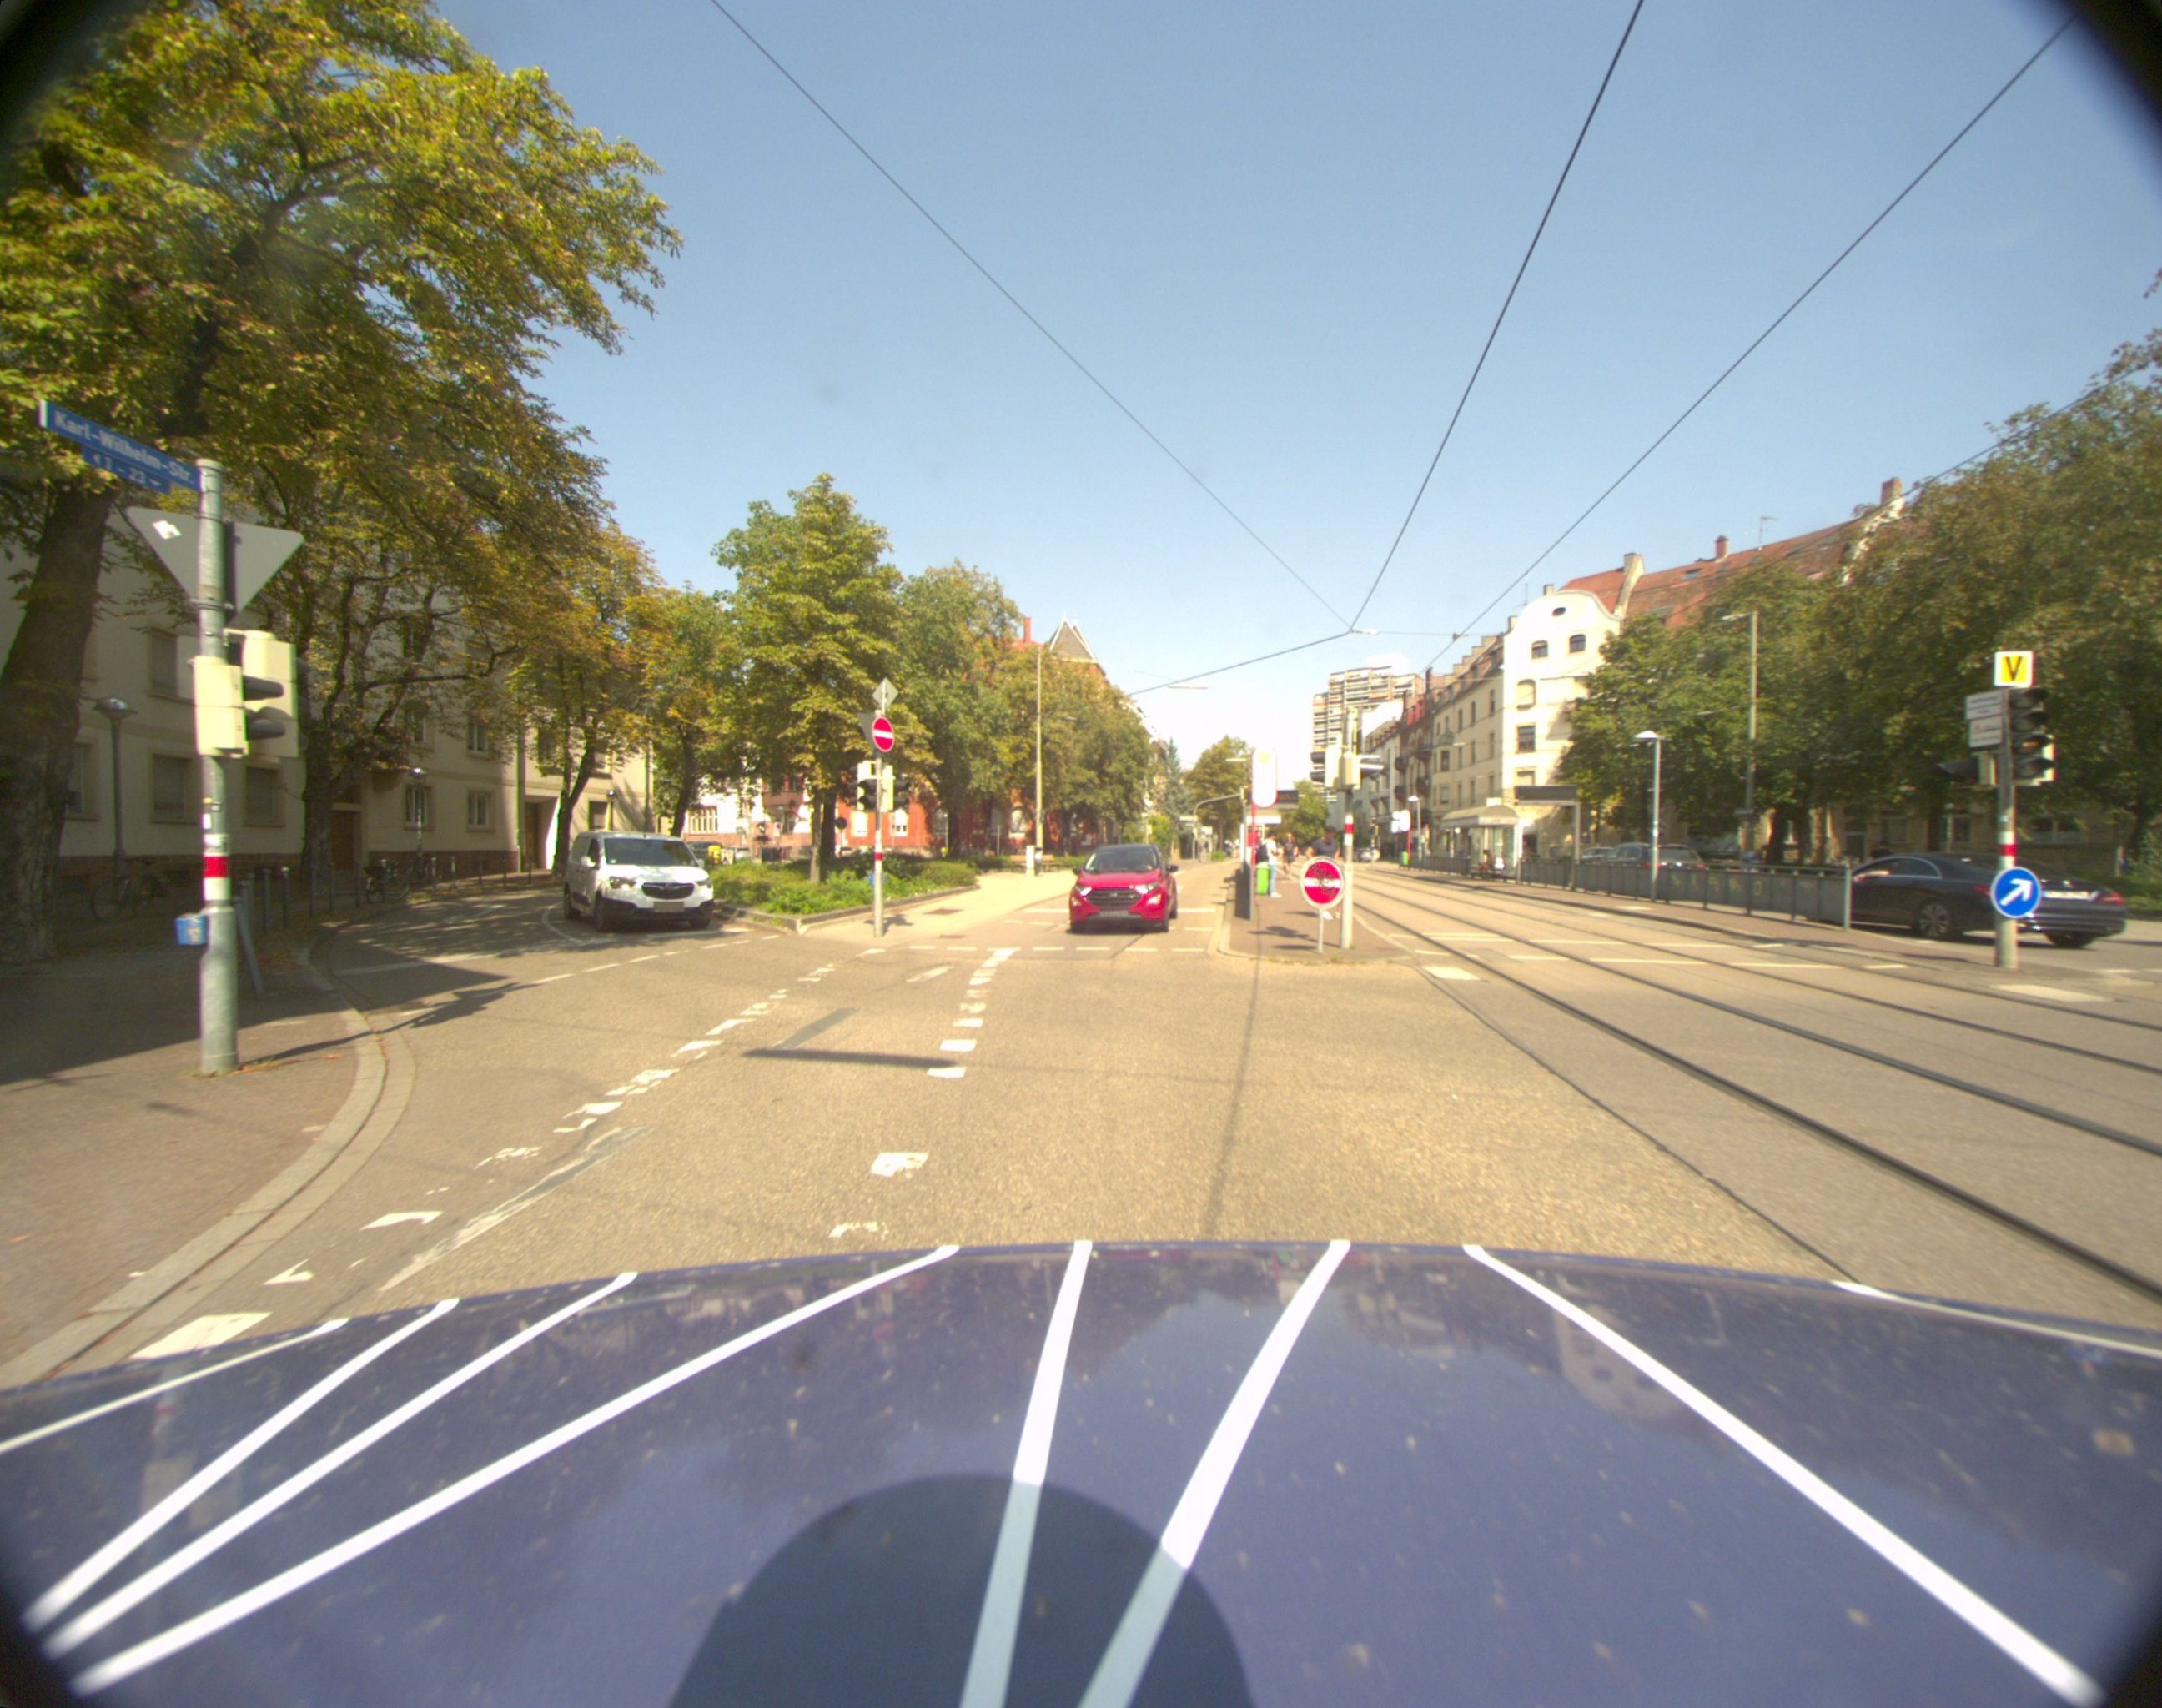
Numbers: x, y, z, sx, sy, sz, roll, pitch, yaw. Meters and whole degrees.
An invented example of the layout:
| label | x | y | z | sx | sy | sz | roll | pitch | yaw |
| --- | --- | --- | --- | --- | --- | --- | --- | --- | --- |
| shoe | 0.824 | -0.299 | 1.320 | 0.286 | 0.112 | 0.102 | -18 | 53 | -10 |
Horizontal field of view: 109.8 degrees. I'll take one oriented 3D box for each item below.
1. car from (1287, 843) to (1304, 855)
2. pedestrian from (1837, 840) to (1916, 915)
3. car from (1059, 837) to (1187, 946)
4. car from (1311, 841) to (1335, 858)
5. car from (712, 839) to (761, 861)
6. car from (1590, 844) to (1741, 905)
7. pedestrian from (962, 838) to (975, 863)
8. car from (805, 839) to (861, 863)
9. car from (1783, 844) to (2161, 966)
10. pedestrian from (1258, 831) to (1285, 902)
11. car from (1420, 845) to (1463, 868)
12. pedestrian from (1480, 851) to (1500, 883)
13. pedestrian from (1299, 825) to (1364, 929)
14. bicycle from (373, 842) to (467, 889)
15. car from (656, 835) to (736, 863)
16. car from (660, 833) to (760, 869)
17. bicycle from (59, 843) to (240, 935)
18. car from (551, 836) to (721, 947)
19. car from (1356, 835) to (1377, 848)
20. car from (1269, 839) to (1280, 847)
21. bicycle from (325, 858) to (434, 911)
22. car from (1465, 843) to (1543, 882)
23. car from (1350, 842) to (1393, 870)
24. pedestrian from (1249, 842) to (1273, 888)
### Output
| label | x | y | z | sx | sy | sz | roll | pitch | yaw |
| --- | --- | --- | --- | --- | --- | --- | --- | --- | --- |
| car | 30.880 | -0.767 | 109.602 | 1.996 | 1.716 | 4.634 | 2 | 1 | 12 |
| pedestrian | 21.932 | 0.641 | 20.981 | 1.093 | 2.002 | 1.037 | -1 | 2 | 11 |
| car | 0.998 | 0.612 | 14.893 | 1.801 | 1.801 | 4.419 | -1 | 1 | 12 |
| car | 26.203 | -0.500 | 82.389 | 1.996 | 1.716 | 4.634 | 2 | 1 | 12 |
| car | -29.825 | -0.373 | 65.746 | 4.403 | 1.801 | 1.808 | 1 | 1 | 35 |
| car | 17.745 | 0.530 | 23.399 | 1.996 | 1.638 | 4.635 | 2 | 1 | 15 |
| pedestrian | -8.613 | -0.293 | 58.152 | 0.676 | 1.874 | 0.920 | 0 | 2 | -29 |
| car | -19.263 | -0.260 | 58.976 | 4.403 | 1.801 | 1.808 | 1 | 1 | 35 |
| car | 14.696 | 0.673 | 12.917 | 1.996 | 1.638 | 4.635 | 2 | 1 | 13 |
| pedestrian | 5.182 | 0.316 | 20.652 | 0.674 | 1.874 | 0.924 | 1 | 1 | 15 |
| car | 27.864 | 0.155 | 58.848 | 1.996 | 1.716 | 4.634 | 2 | 1 | 12 |
| pedestrian | 15.723 | 0.492 | 29.228 | 0.479 | 1.243 | 0.649 | 1 | 1 | 13 |
| pedestrian | 4.706 | 0.413 | 14.277 | 0.924 | 1.874 | 0.674 | 0 | 2 | -24 |
| bicycle | -21.062 | 0.345 | 24.299 | 0.891 | 1.402 | 2.353 | -1 | 1 | -1 |
| car | -25.689 | -0.346 | 50.801 | 1.799 | 1.801 | 4.425 | 1 | 1 | 38 |
| car | -19.729 | -0.176 | 40.539 | 1.798 | 1.801 | 4.426 | 3 | 2 | 43 |
| bicycle | -16.229 | 0.546 | 13.375 | 1.024 | 1.444 | 2.684 | 1 | 0 | -27 |
| car | -8.631 | 0.564 | 14.555 | 1.808 | 1.801 | 4.403 | -1 | 2 | -44 |
| car | 38.933 | -1.732 | 103.882 | 1.996 | 1.716 | 4.634 | 2 | 1 | 12 |
| car | 41.492 | -2.395 | 162.862 | 1.996 | 1.716 | 4.634 | 2 | 1 | 12 |
| bicycle | -16.705 | 0.695 | 18.179 | 0.811 | 1.119 | 2.266 | 3 | 1 | -11 |
| car | 20.424 | 0.354 | 36.888 | 1.996 | 1.716 | 4.634 | 2 | 1 | 12 |
| car | 19.168 | 0.107 | 50.254 | 1.996 | 1.716 | 4.635 | 2 | 1 | 13 |
| pedestrian | 6.221 | 0.372 | 26.283 | 0.738 | 1.575 | 0.854 | 1 | 1 | 11 |
